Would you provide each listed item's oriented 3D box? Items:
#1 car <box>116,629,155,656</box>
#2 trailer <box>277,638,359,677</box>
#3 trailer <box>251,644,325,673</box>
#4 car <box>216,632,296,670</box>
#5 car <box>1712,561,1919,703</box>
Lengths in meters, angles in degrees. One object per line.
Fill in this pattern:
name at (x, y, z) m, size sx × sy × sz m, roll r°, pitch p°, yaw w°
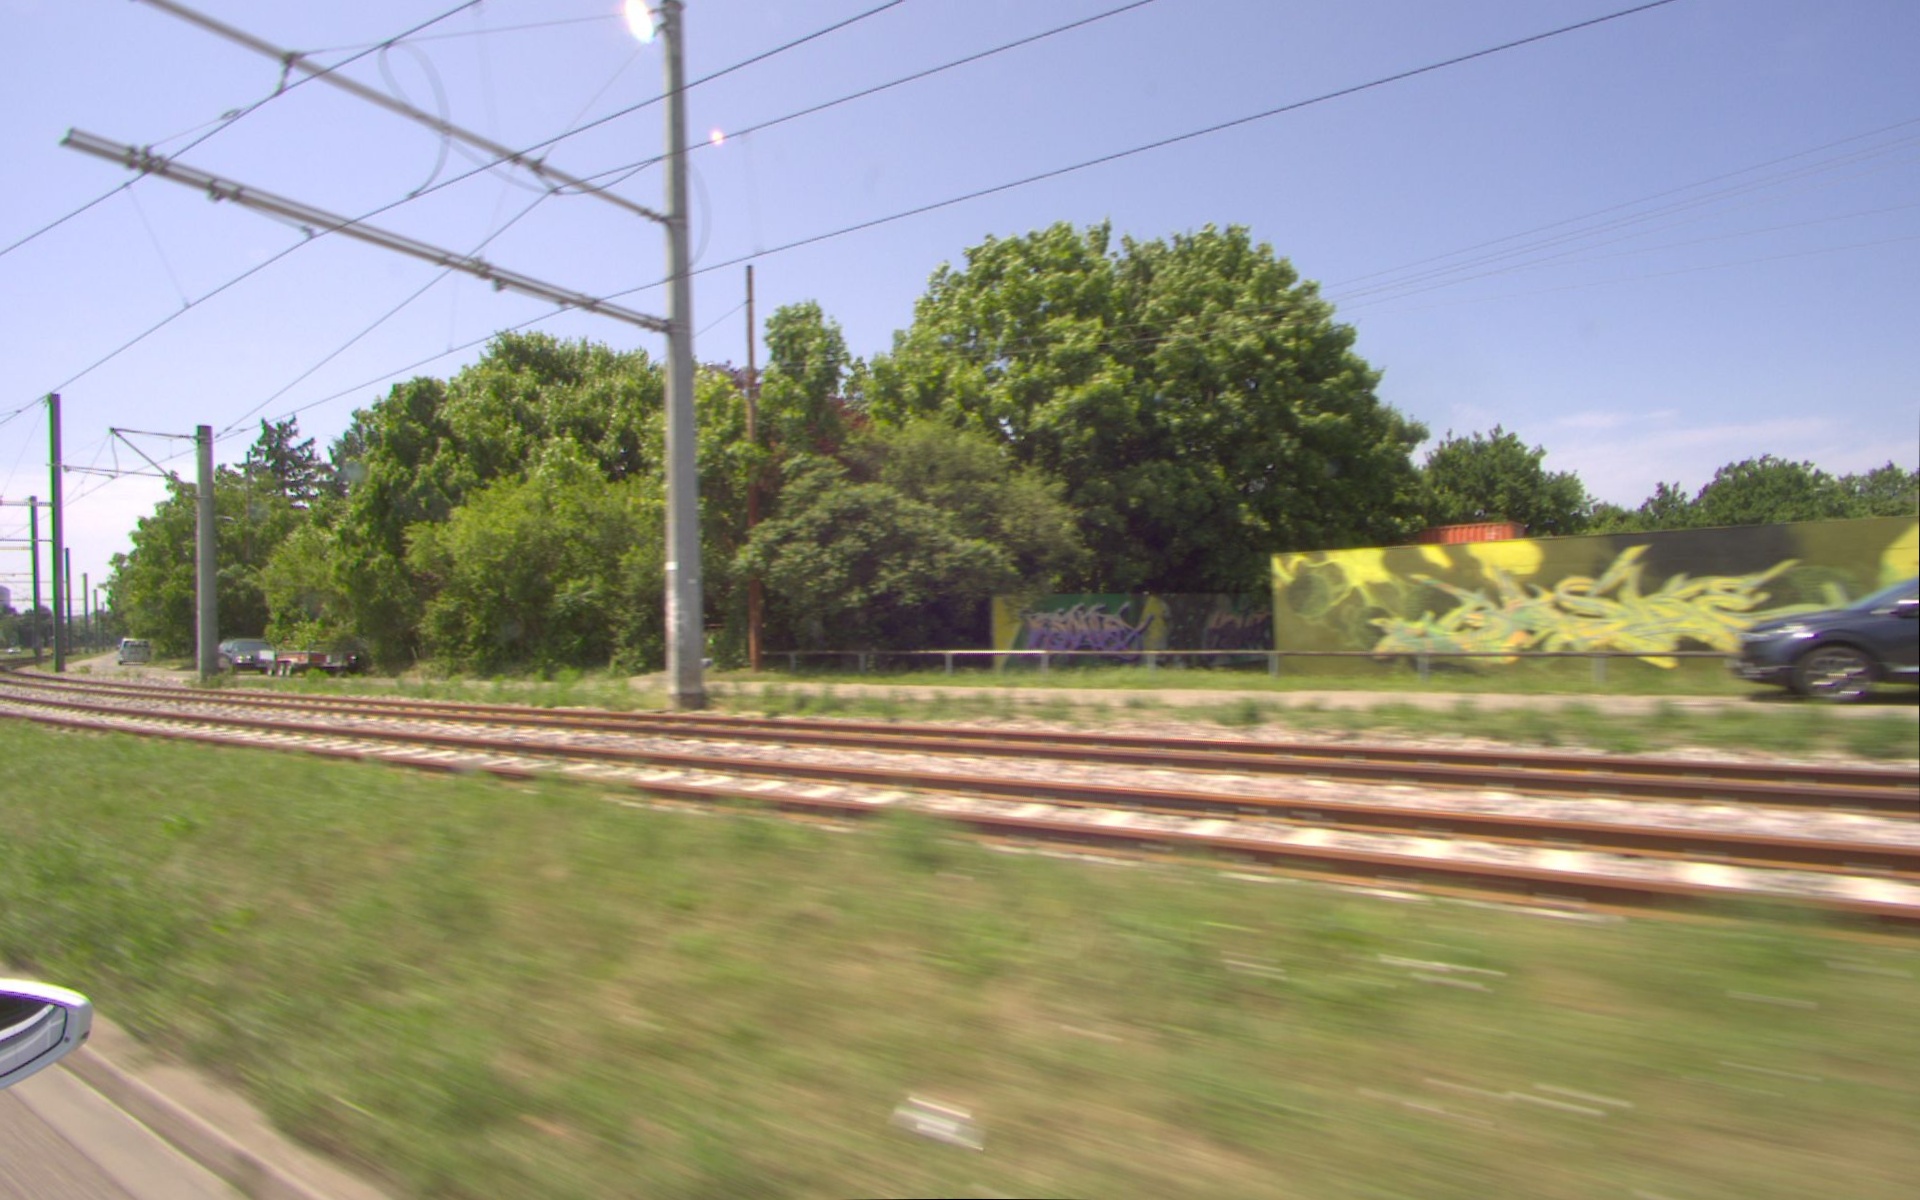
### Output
car at (-63.023, 3.259, 76.593) m, size 2.018 × 1.906 × 5.033 m, roll -1°, pitch -2°, yaw -37°
trailer at (-22.411, 1.994, 34.885) m, size 3.958 × 1.238 × 1.453 m, roll -4°, pitch -2°, yaw 43°
trailer at (-25.291, 2.182, 37.627) m, size 3.956 × 1.007 × 1.412 m, roll -1°, pitch -3°, yaw 43°
car at (-29.299, 2.146, 41.620) m, size 4.690 × 1.444 × 1.787 m, roll -4°, pitch -2°, yaw 43°
car at (12.325, 0.348, 12.245) m, size 4.746 × 1.678 × 1.825 m, roll -3°, pitch -1°, yaw 31°
